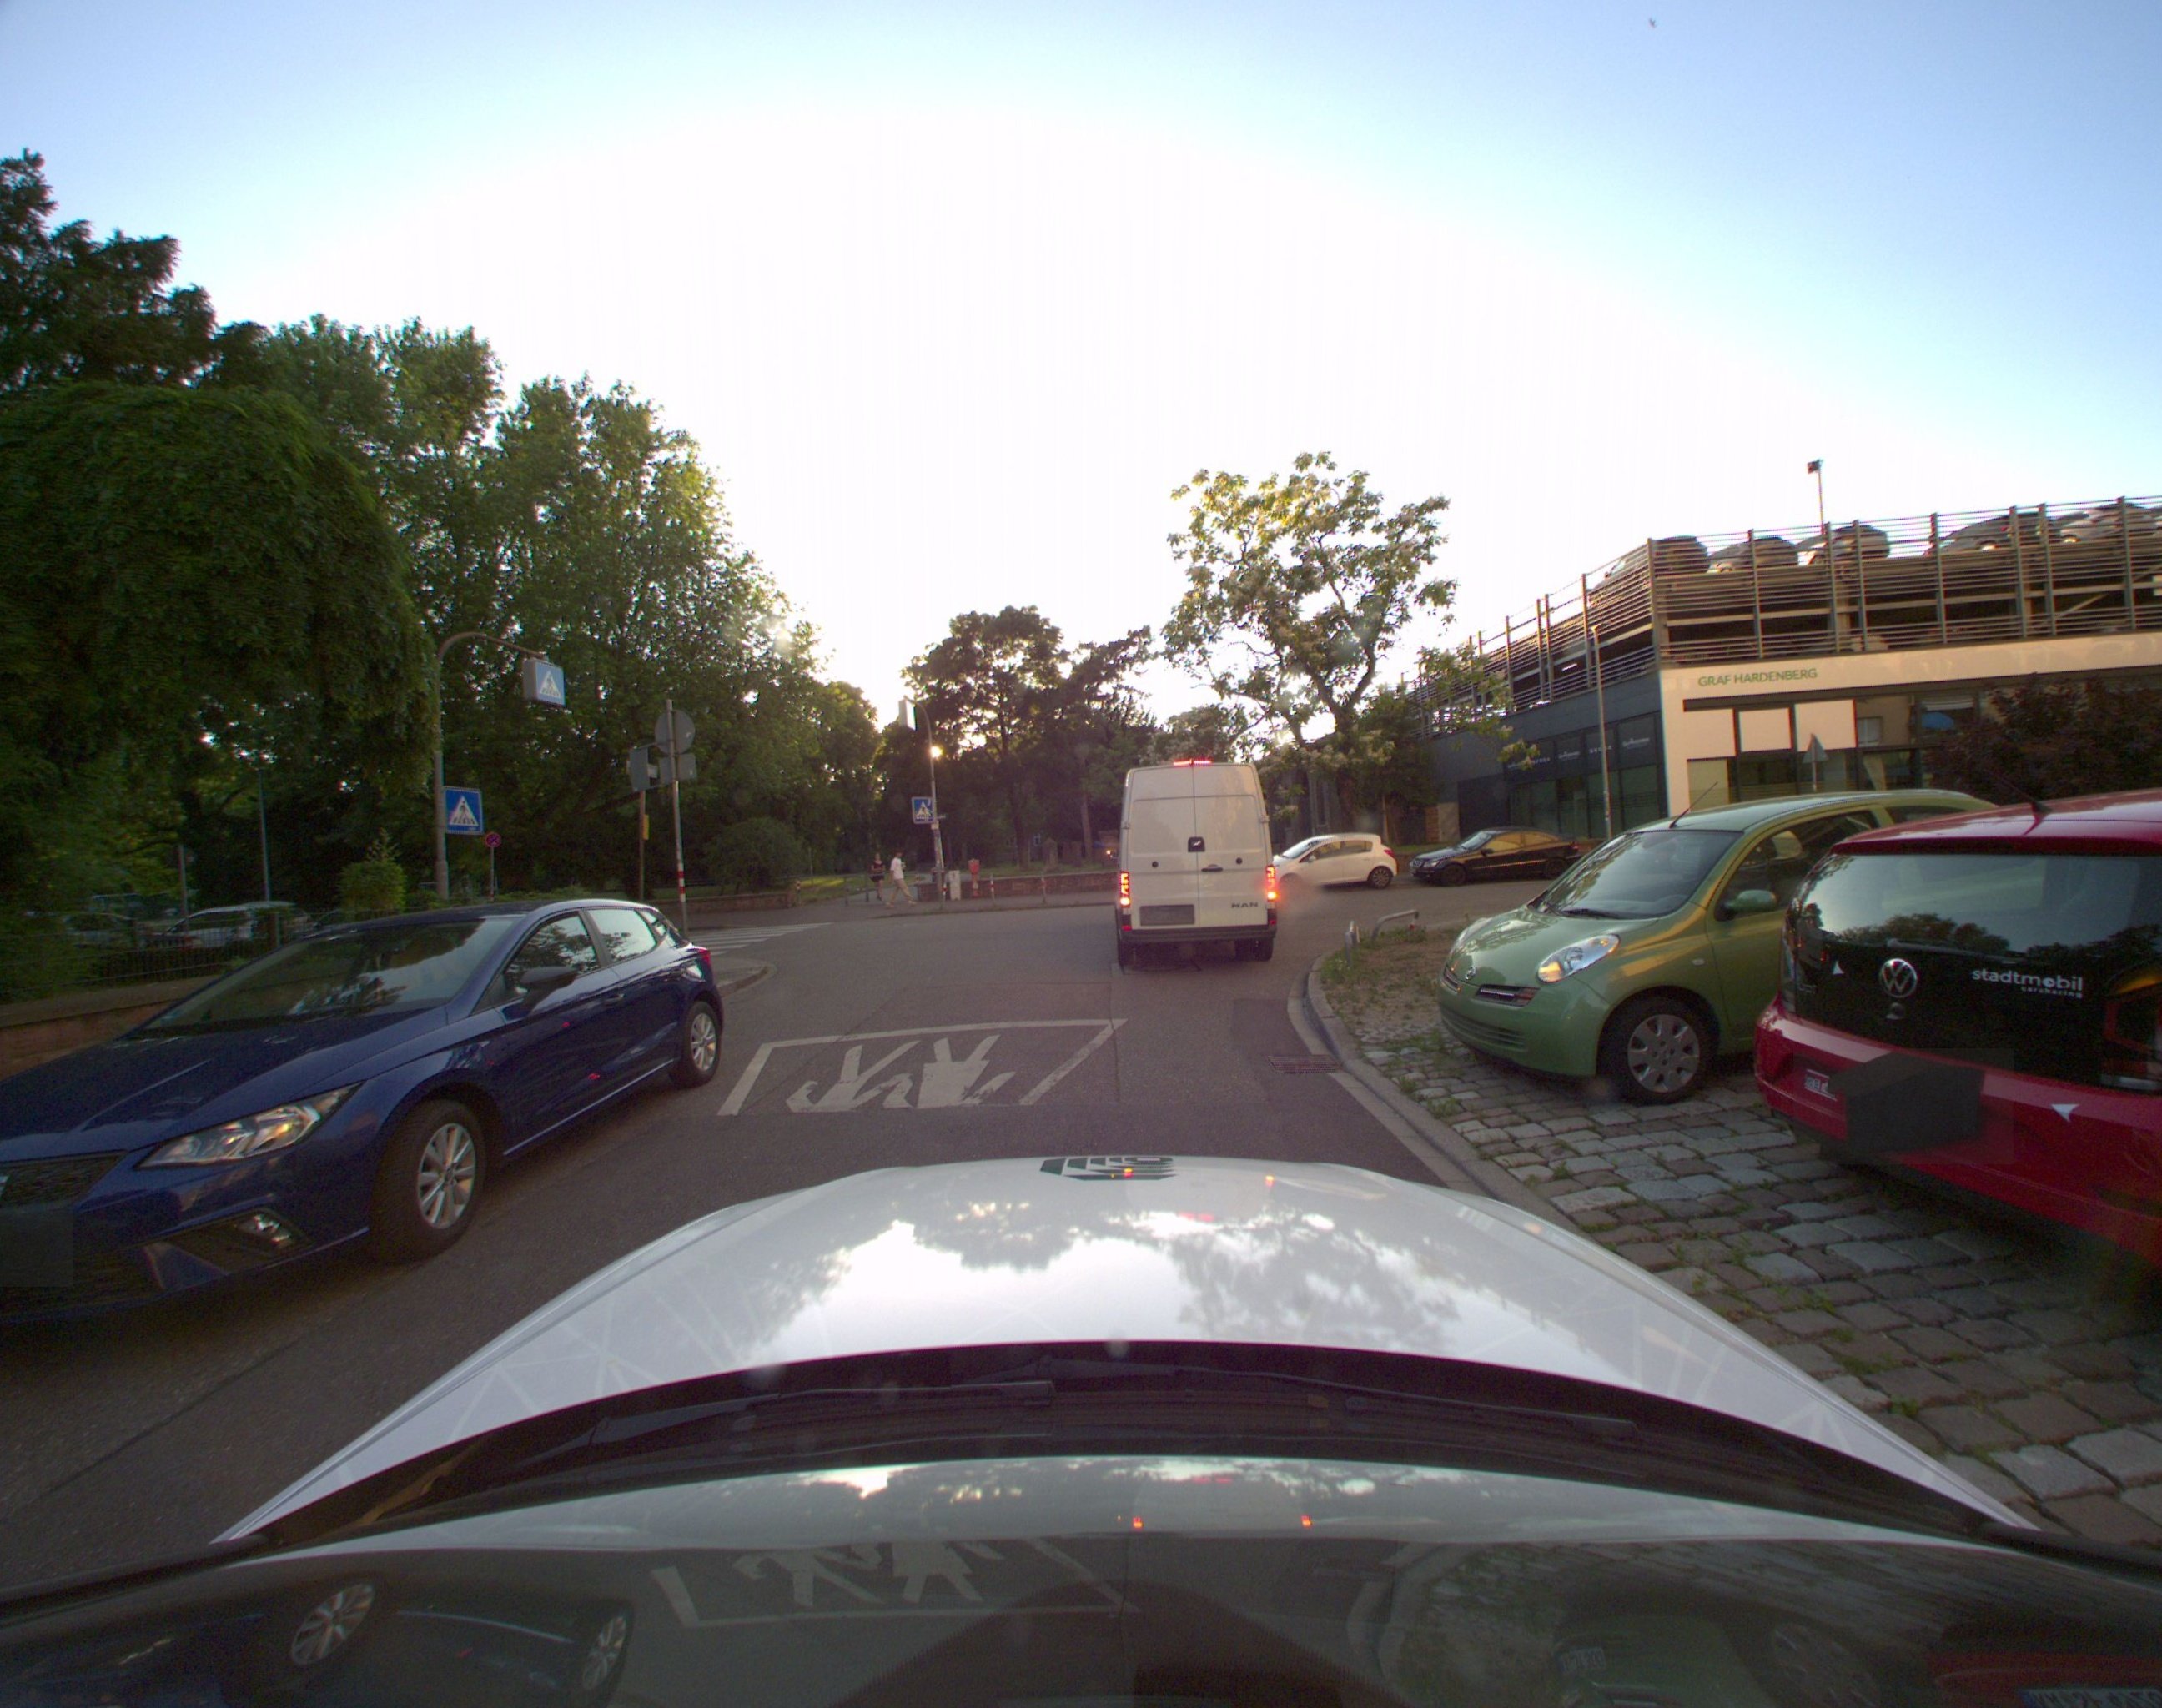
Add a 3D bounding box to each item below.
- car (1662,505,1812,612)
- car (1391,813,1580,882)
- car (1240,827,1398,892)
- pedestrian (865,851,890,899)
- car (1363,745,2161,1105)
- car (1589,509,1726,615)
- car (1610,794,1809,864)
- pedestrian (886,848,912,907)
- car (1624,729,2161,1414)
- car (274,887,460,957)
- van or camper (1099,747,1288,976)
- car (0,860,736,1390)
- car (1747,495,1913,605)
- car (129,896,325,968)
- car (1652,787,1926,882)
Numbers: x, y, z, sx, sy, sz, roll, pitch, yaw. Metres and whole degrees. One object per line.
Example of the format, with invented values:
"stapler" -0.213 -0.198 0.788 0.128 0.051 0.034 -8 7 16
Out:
"car" 21.753 -9.761 27.236 1.984 2.013 4.006 -2 0 6
"car" 11.096 -0.169 22.595 4.273 1.503 1.826 -5 0 4
"car" 6.632 0.134 22.993 3.844 1.574 1.957 -3 0 -2
"pedestrian" -7.232 0.745 28.944 0.644 1.648 0.674 -2 0 0
"car" 4.422 0.367 5.358 4.392 1.631 1.844 -5 -2 -2
"car" 19.199 -9.675 27.376 1.984 2.013 4.006 -2 0 6
"car" 16.832 -0.641 21.990 3.819 1.503 1.826 -5 0 4
"pedestrian" -5.705 0.733 25.515 0.591 1.809 0.621 -2 0 2
"car" 4.761 0.272 2.800 4.386 1.631 1.847 -7 0 2
"car" -20.950 1.981 23.986 3.832 1.491 1.828 -4 6 7
"van or camper" 1.393 0.102 12.787 1.987 2.618 6.401 -2 0 0
"car" -3.539 0.907 4.469 1.730 1.567 3.786 -5 0 -3
"car" 24.478 -9.879 26.836 1.984 2.013 4.006 -2 0 6
"car" -25.653 2.321 24.569 3.852 1.562 1.826 -4 6 3
"car" 14.255 -0.371 16.590 3.819 1.523 1.826 -5 0 4
